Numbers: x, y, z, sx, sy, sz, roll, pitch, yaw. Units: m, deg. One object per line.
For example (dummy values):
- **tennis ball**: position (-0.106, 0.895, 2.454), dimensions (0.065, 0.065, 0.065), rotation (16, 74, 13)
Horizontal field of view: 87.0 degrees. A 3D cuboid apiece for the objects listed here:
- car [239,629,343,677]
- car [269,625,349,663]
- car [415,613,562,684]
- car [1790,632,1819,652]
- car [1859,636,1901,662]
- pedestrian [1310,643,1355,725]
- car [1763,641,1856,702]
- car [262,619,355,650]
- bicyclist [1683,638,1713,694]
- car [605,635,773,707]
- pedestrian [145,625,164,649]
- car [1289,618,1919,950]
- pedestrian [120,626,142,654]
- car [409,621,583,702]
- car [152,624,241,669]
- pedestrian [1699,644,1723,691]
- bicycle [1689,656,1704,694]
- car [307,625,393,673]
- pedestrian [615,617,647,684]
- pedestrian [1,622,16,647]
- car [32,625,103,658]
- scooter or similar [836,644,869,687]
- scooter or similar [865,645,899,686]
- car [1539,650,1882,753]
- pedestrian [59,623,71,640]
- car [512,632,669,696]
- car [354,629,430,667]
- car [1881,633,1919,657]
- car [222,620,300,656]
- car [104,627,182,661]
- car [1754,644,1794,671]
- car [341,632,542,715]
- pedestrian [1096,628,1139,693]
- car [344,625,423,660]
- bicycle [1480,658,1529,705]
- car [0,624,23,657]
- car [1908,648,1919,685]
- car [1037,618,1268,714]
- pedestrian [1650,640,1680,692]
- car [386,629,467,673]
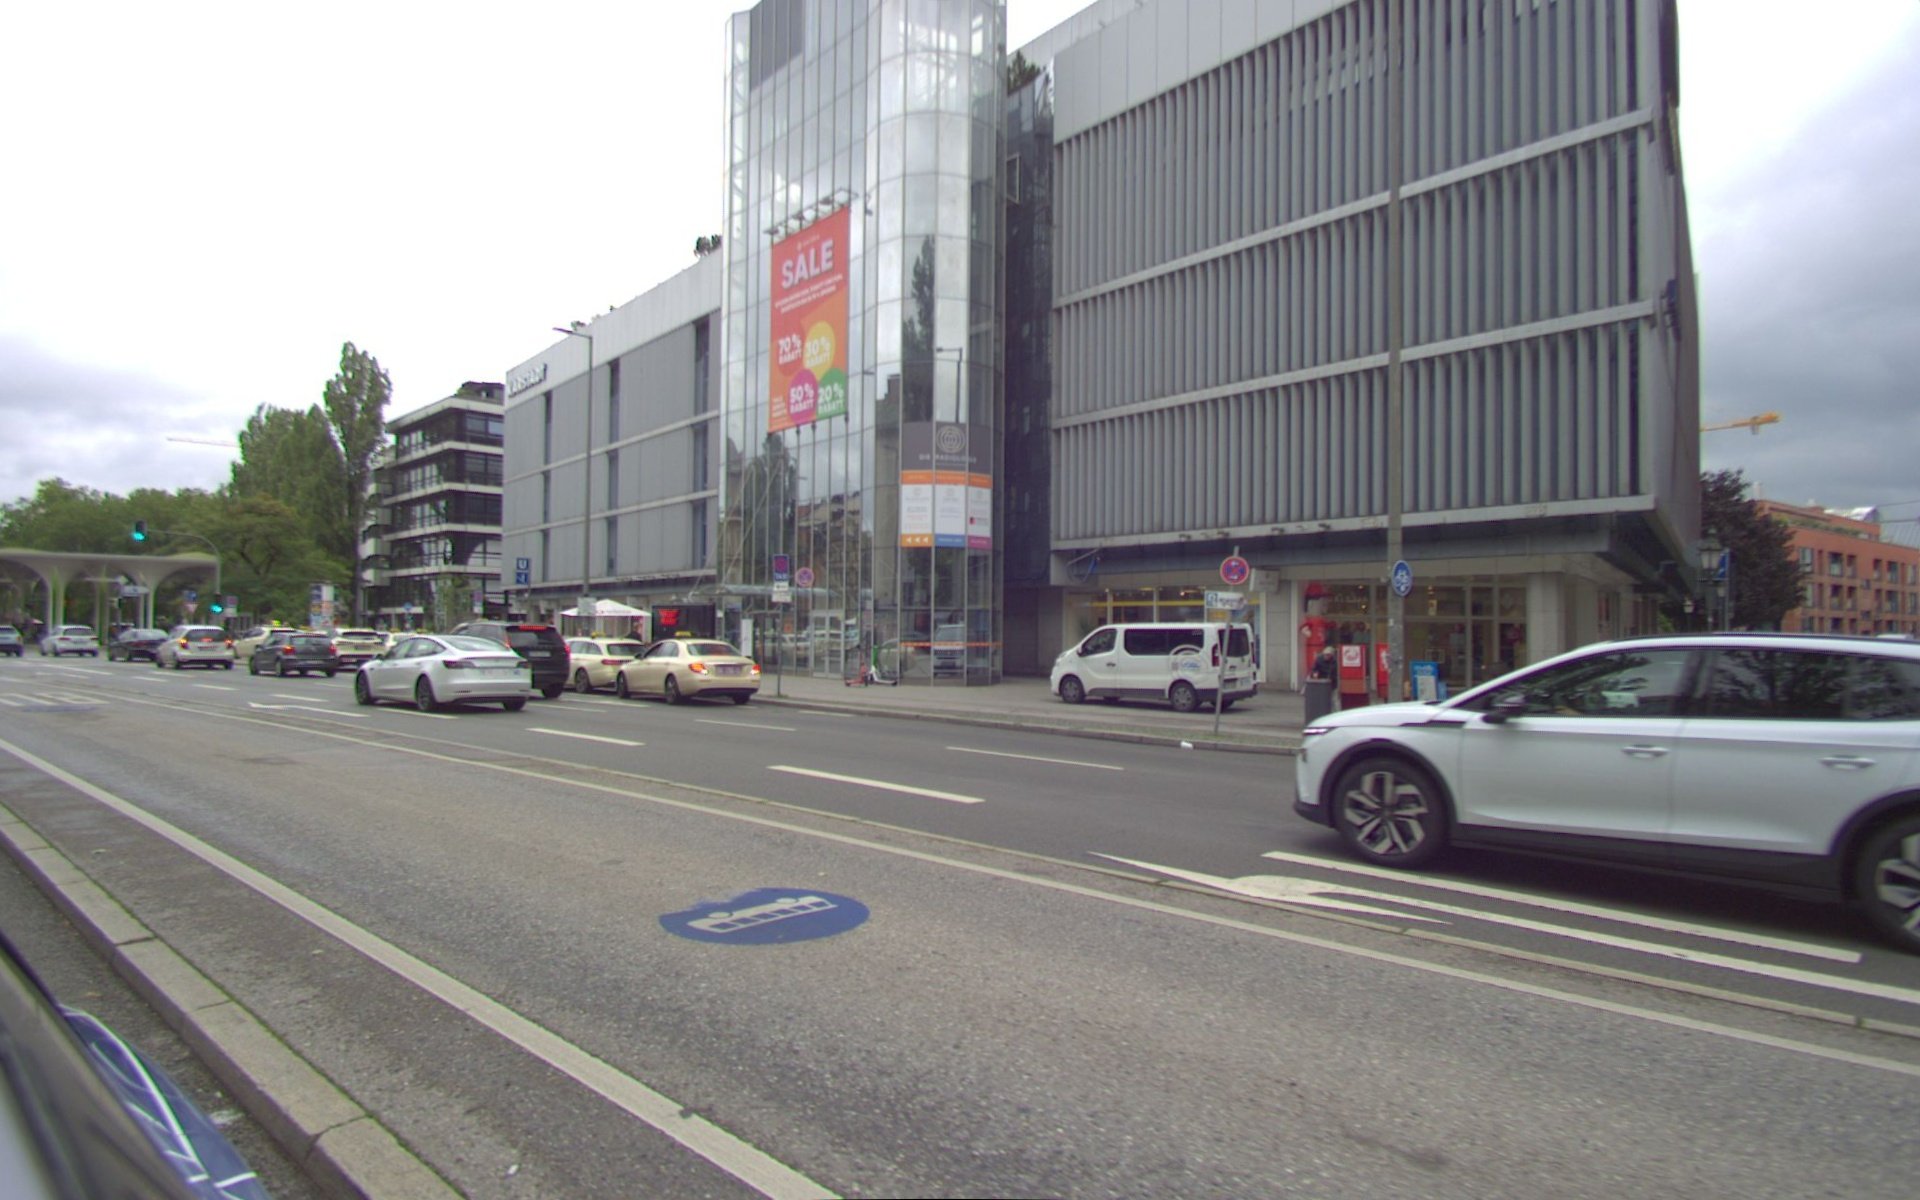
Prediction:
- **car**: position (-22.290, 1.738, 33.665), dimensions (3.996, 1.477, 1.766), rotation (-1, -3, 40)
- **car**: position (-28.044, 1.864, 43.543), dimensions (1.923, 1.552, 4.850), rotation (3, -3, -44)
- **car**: position (-14.851, 1.486, 31.736), dimensions (5.315, 2.029, 1.974), rotation (-1, -3, 39)
- **car**: position (73.079, 3.599, 87.559), dimensions (1.850, 1.674, 4.180), rotation (-1, -3, 41)
- **car**: position (62.451, 3.314, 68.676), dimensions (2.000, 1.720, 4.177), rotation (-1, -3, 43)
- **pedestrian**: position (7.048, 1.571, 19.169), dimensions (0.655, 1.506, 0.539), rotation (-1, -3, 40)
- **car**: position (25.591, 2.086, 30.498), dimensions (1.999, 1.674, 4.180), rotation (-1, -3, 41)
- **car**: position (-33.356, 1.757, 51.800), dimensions (4.268, 1.522, 1.846), rotation (0, -2, 22)
- **bicyclist**: position (22.635, 2.007, 31.045), dimensions (0.715, 1.685, 0.744), rotation (-1, -3, 37)
- **car**: position (-6.384, 1.590, 23.437), dimensions (1.833, 1.480, 4.991), rotation (5, -4, -39)
- **pedestrian**: position (-61.344, 2.811, 77.077), dimensions (0.978, 1.791, 0.851), rotation (-1, -3, 36)
- **car**: position (4.557, 0.949, 6.376), dimensions (4.356, 1.615, 1.888), rotation (-2, -3, 44)
- **pedestrian**: position (-47.789, 2.300, 58.365), dimensions (0.752, 1.563, 0.637), rotation (0, -1, 10)
- **car**: position (-11.161, 1.399, 24.159), dimensions (4.982, 1.729, 1.996), rotation (-1, -3, 43)
- **car**: position (-28.598, 1.716, 37.860), dimensions (3.999, 1.602, 1.932), rotation (-1, -3, 42)
- **pedestrian**: position (24.844, 2.235, 33.468), dimensions (0.612, 1.517, 0.557), rotation (-1, -3, 37)
- **bicycle**: position (22.633, 2.288, 31.080), dimensions (0.352, 1.088, 1.668), rotation (-1, -3, 36)
- **car**: position (-23.357, 1.857, 38.712), dimensions (1.863, 1.711, 4.387), rotation (4, -4, -43)
- **pedestrian**: position (-9.447, 1.452, 29.038), dimensions (0.775, 1.881, 0.849), rotation (3, -3, -19)
- **pedestrian**: position (-70.816, 2.550, 75.319), dimensions (0.656, 1.865, 0.790), rotation (2, -3, -35)
- **car**: position (-45.920, 2.116, 52.040), dimensions (4.284, 1.612, 1.974), rotation (-1, -3, 39)
- **scooter or similar**: position (-3.167, 1.924, 29.814), dimensions (0.993, 1.233, 0.252), rotation (-1, -3, 29)
- **scooter or similar**: position (-2.352, 1.957, 30.389), dimensions (0.991, 1.182, 0.253), rotation (0, -2, 23)
- **car**: position (12.147, 1.581, 16.865), dimensions (1.897, 1.450, 4.515), rotation (1, -3, -9)
- **pedestrian**: position (-70.709, 2.515, 79.919), dimensions (0.590, 1.348, 0.543), rotation (-1, -3, 35)
- **car**: position (-10.202, 1.694, 27.746), dimensions (5.086, 1.564, 1.956), rotation (-1, -3, 43)
- **car**: position (-24.504, 2.055, 43.620), dimensions (4.001, 1.548, 1.732), rotation (-1, -3, 44)
- **car**: position (71.282, 3.387, 76.557), dimensions (4.174, 1.720, 2.079), rotation (3, -3, -44)
- **car**: position (-32.779, 1.777, 47.429), dimensions (4.467, 1.624, 1.573), rotation (-1, -3, 36)
- **car**: position (-36.024, 1.937, 44.593), dimensions (4.683, 1.420, 1.712), rotation (-1, -3, 39)
- **car**: position (52.072, 3.643, 64.692), dimensions (1.850, 1.674, 4.180), rotation (-1, -3, 41)
- **car**: position (-10.140, 1.355, 19.637), dimensions (4.686, 1.405, 1.781), rotation (-1, -3, 40)
- **pedestrian**: position (4.619, 1.753, 29.673), dimensions (0.852, 1.849, 0.905), rotation (3, -3, -43)
- **car**: position (-27.693, 2.022, 48.612), dimensions (3.994, 1.579, 1.888), rotation (-1, -3, 37)
- **bicycle**: position (13.181, 1.960, 24.476), dimensions (0.556, 1.091, 1.800), rotation (-2, -4, 44)
- **car**: position (-47.583, 1.964, 49.550), dimensions (3.994, 1.557, 1.800), rotation (-1, -5, 37)
- **car**: position (49.819, 3.383, 51.530), dimensions (1.999, 1.833, 4.180), rotation (-1, -3, 41)
- **car**: position (4.385, 1.475, 23.766), dimensions (5.114, 2.029, 1.971), rotation (-2, -3, 45)
- **pedestrian**: position (23.639, 2.200, 33.948), dimensions (0.751, 1.685, 0.708), rotation (-1, -3, 33)
- **car**: position (-20.738, 1.940, 39.270), dimensions (1.750, 1.628, 4.004), rotation (3, -3, -43)
